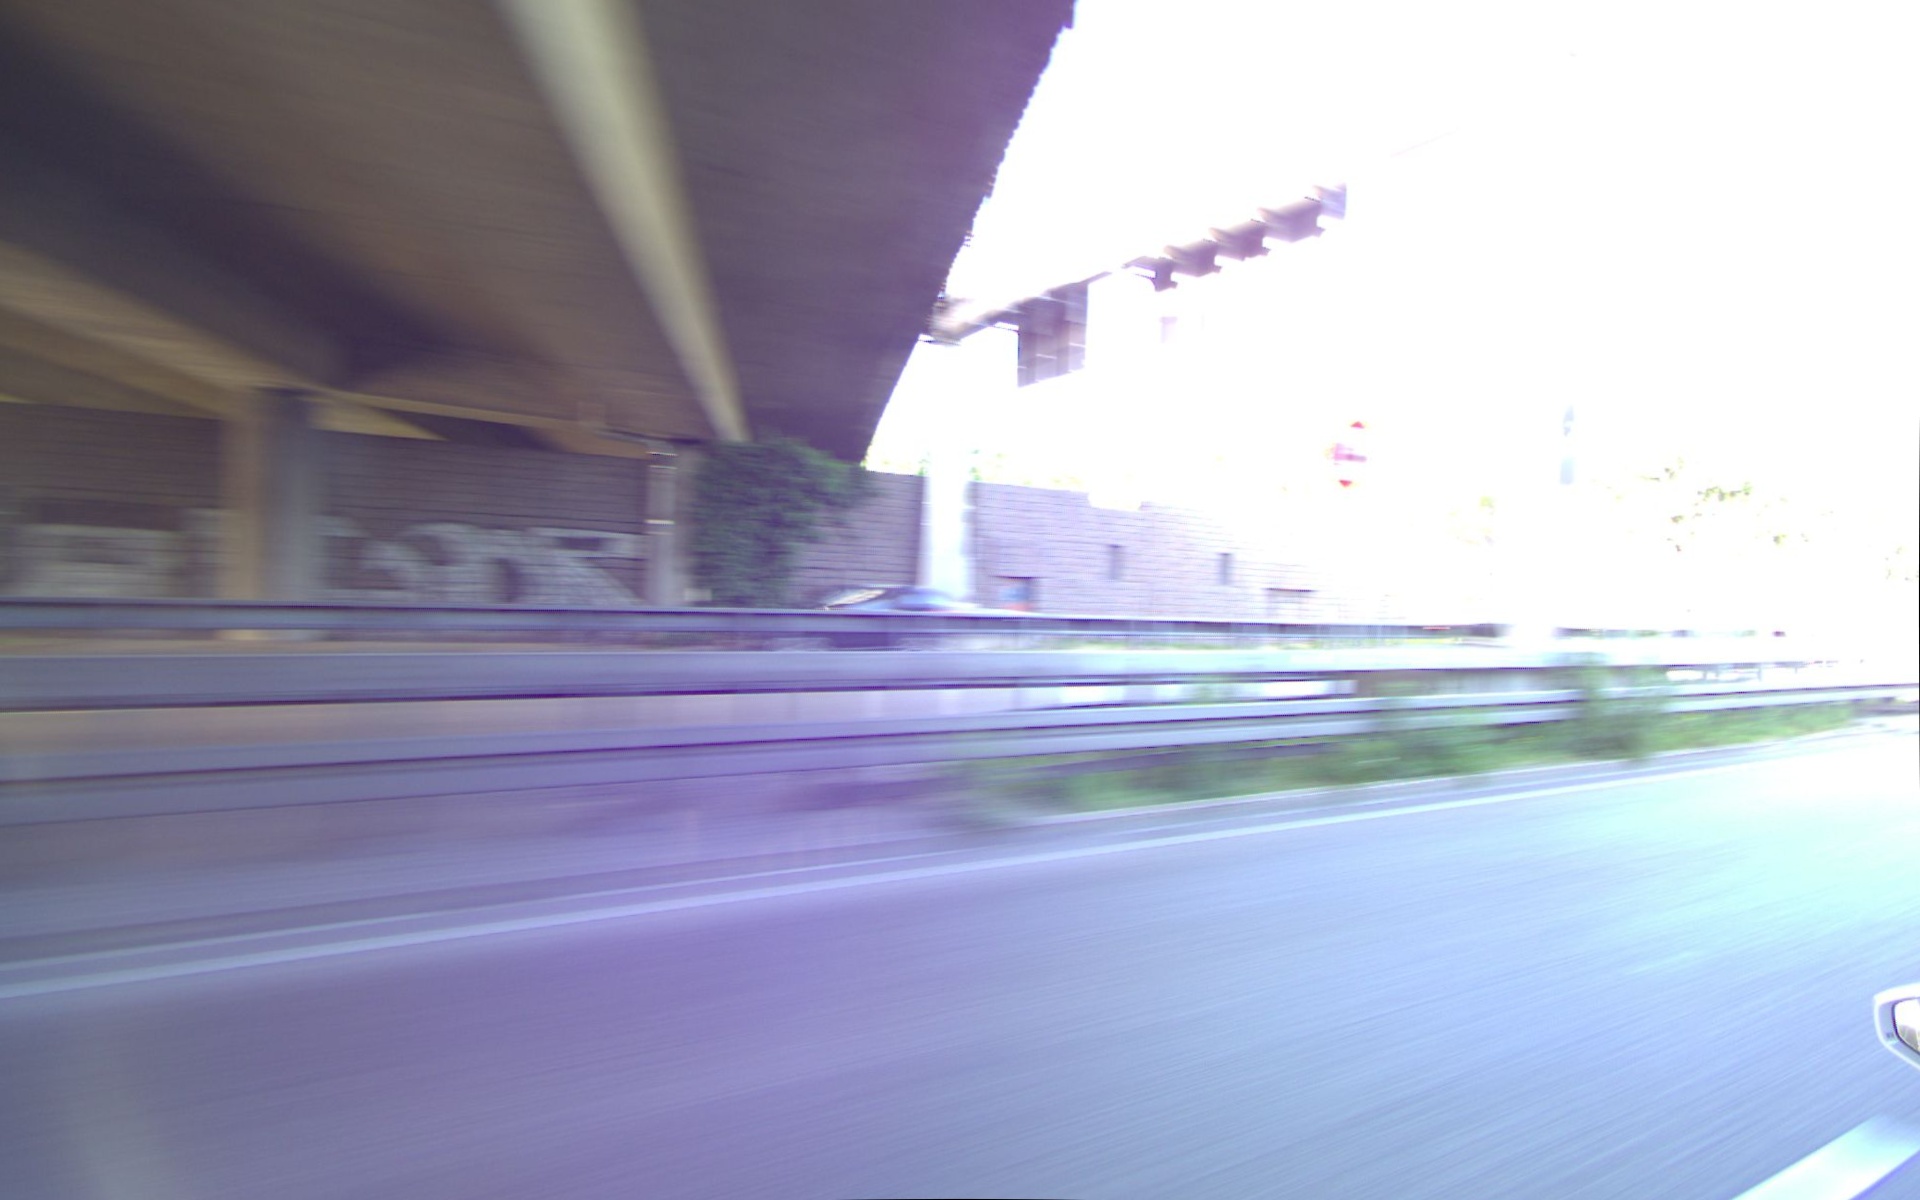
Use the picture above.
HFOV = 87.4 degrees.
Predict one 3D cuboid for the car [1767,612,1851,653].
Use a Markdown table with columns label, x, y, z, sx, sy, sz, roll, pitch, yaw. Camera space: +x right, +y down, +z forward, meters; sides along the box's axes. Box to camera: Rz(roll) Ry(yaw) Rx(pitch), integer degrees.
| label | x | y | z | sx | sy | sz | roll | pitch | yaw |
| --- | --- | --- | --- | --- | --- | --- | --- | --- | --- |
| car | 37.114 | 1.400 | 43.883 | 4.349 | 1.595 | 1.536 | 1 | 3 | -33 |

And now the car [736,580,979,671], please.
| label | x | y | z | sx | sy | sz | roll | pitch | yaw |
| --- | --- | --- | --- | --- | --- | --- | --- | --- | --- |
| car | -2.009 | 0.483 | 19.905 | 4.374 | 1.617 | 1.984 | 1 | 1 | -30 |
